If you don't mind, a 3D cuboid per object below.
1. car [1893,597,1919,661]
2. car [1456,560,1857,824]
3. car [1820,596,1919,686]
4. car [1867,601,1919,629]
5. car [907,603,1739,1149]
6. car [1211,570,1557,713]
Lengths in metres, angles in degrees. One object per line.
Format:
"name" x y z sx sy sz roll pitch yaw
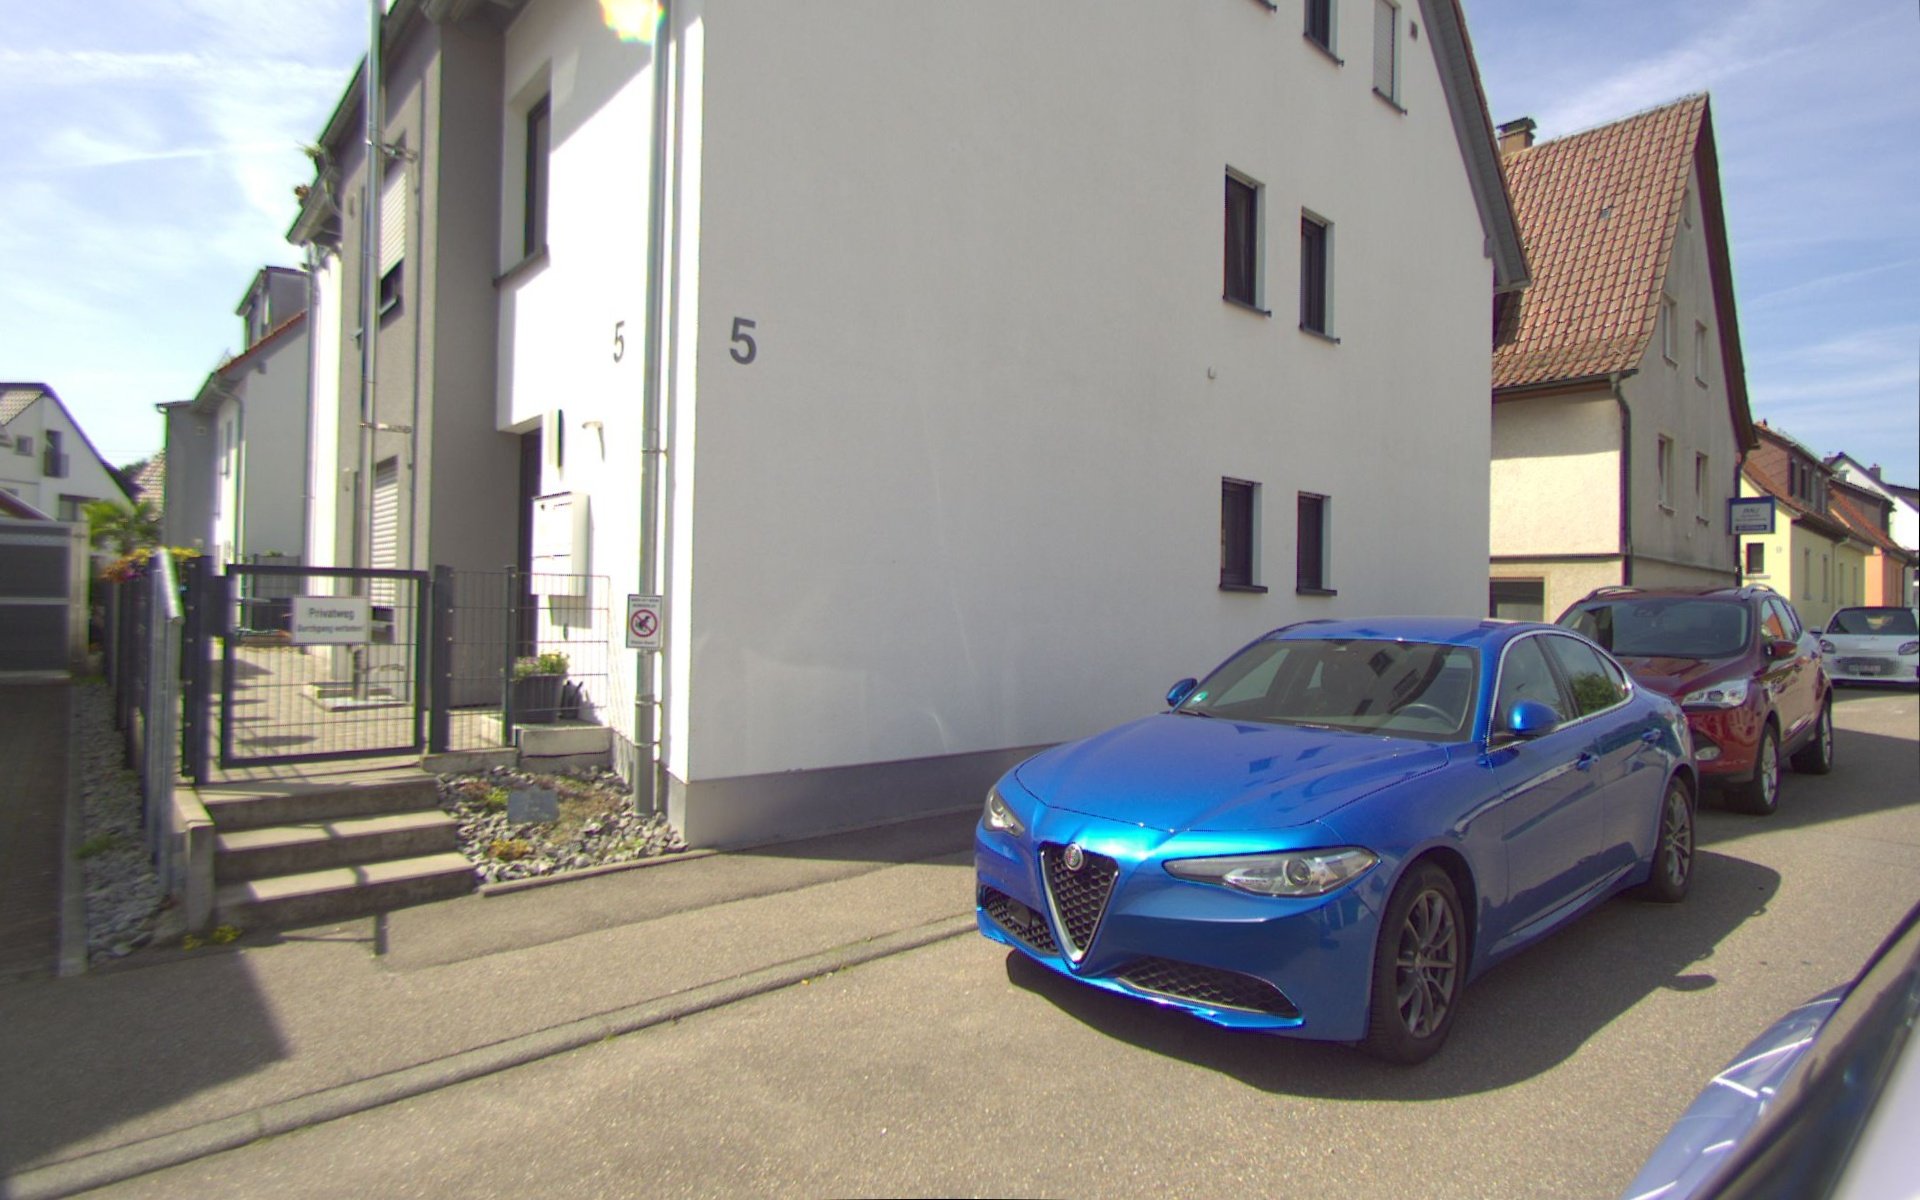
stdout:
"car" 26.056 0.737 26.665 4.179 1.620 1.731 0 -1 -41
"car" 6.101 0.612 8.680 4.110 1.722 1.878 0 -1 -41
"car" 17.685 0.727 19.245 2.988 1.579 1.675 0 -1 -43
"car" 57.715 0.903 60.890 1.812 1.674 4.308 0 -1 -33
"car" 2.061 0.738 4.842 4.511 1.442 1.766 0 -1 -41
"car" 6.354 0.517 15.553 1.967 1.866 4.519 0 0 -44
